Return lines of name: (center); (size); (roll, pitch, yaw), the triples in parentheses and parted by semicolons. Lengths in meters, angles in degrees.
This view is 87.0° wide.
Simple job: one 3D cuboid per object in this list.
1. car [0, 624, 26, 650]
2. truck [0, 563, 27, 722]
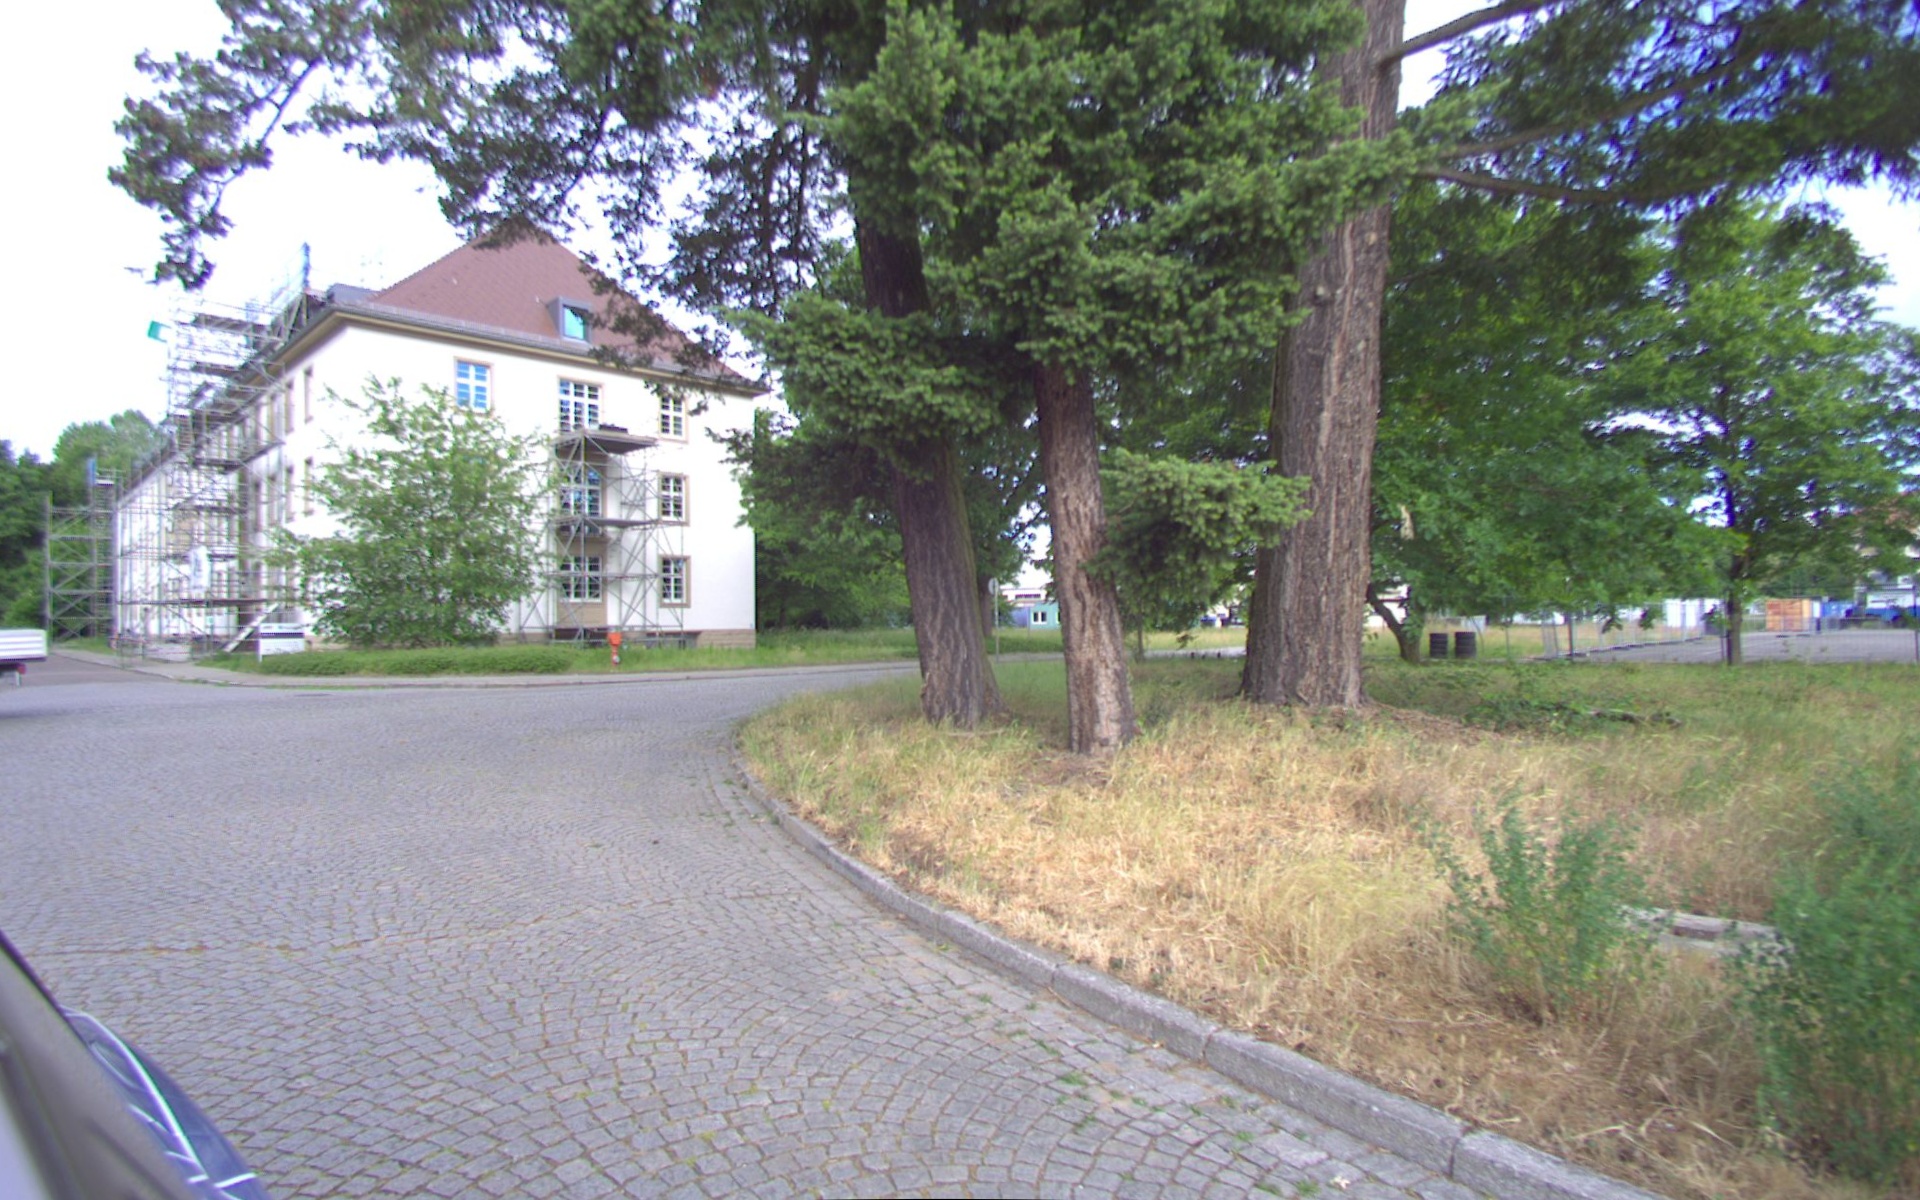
car: (-77.430, 2.995, 82.287); (4.261, 2.029, 1.936); (-1, -2, 44)
truck: (-17.386, 0.652, 13.642); (1.994, 2.384, 6.985); (-3, -3, 44)
